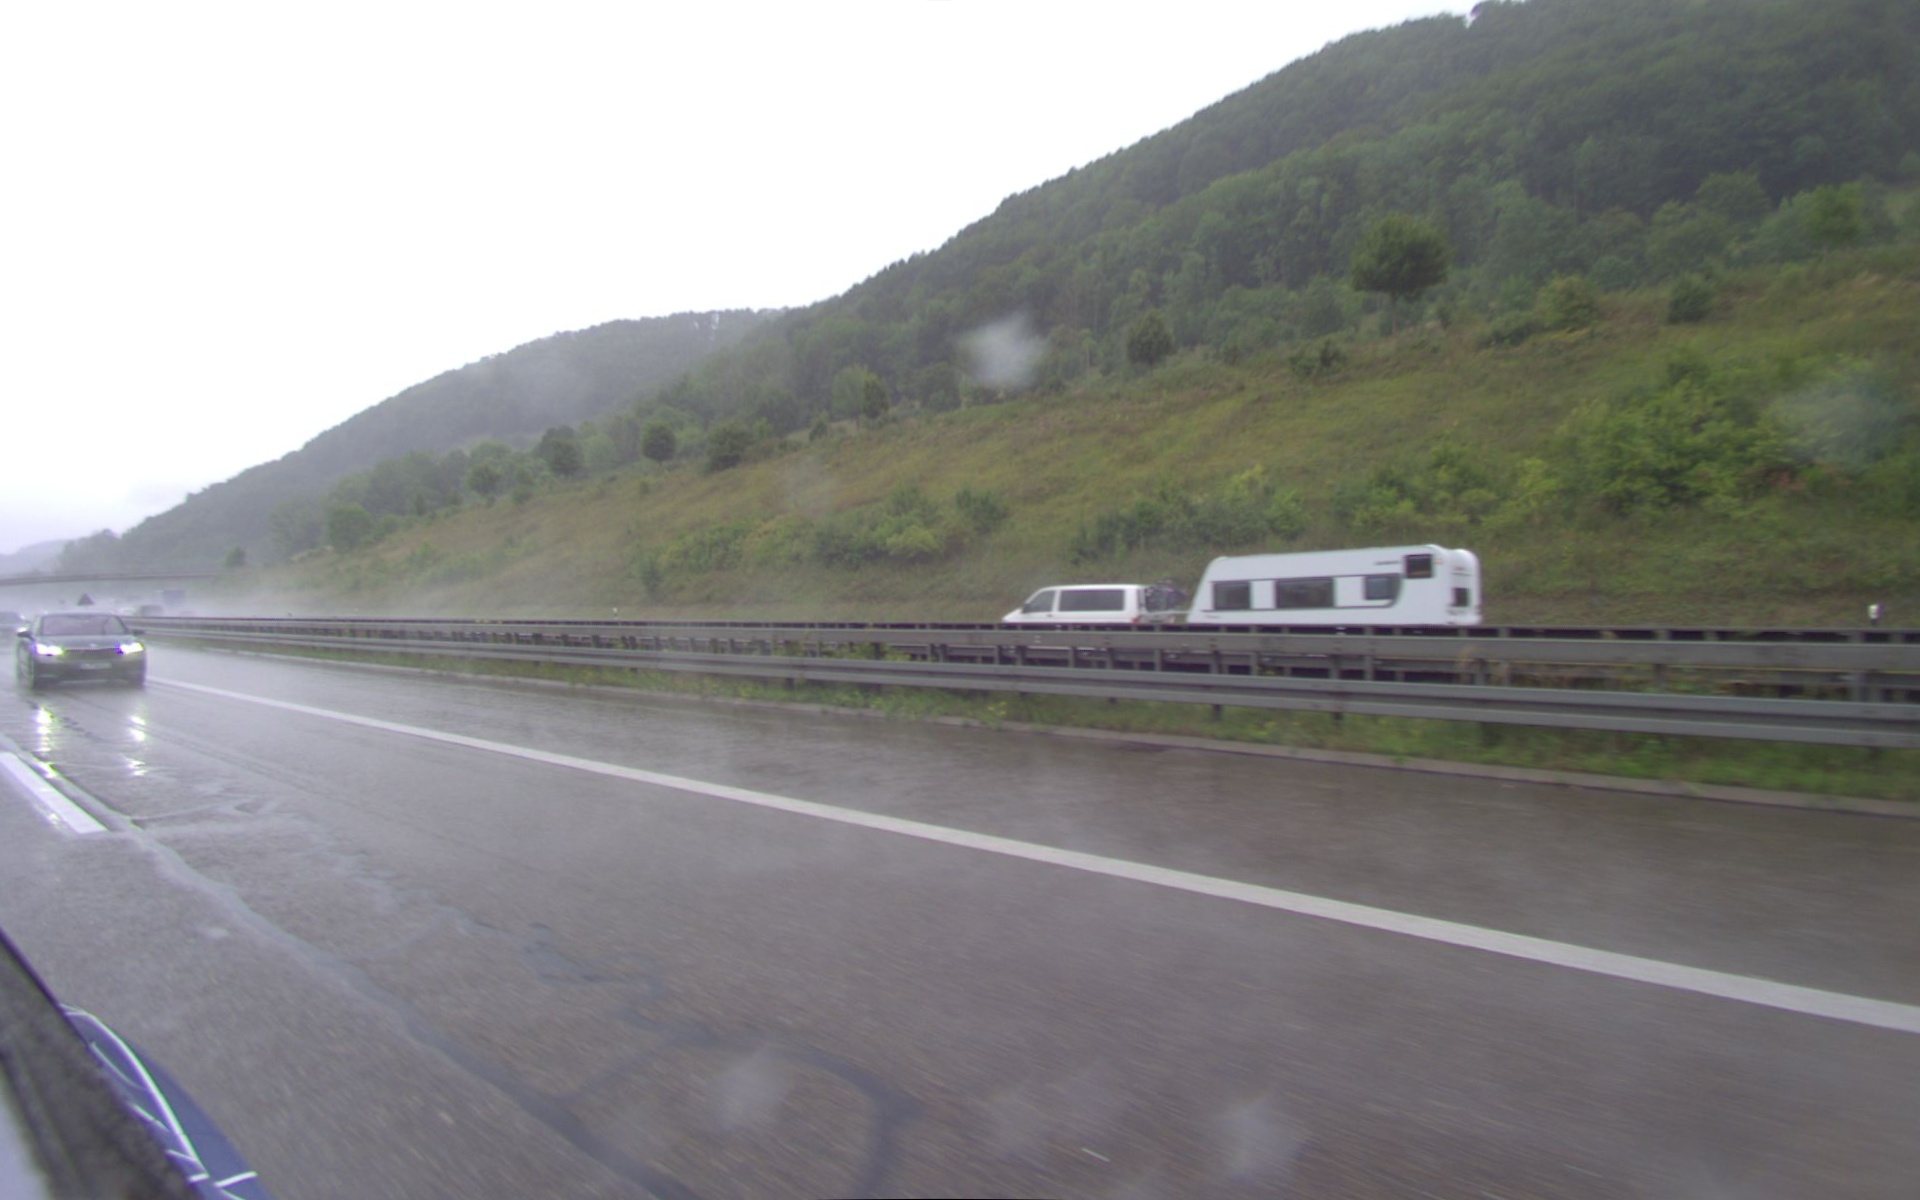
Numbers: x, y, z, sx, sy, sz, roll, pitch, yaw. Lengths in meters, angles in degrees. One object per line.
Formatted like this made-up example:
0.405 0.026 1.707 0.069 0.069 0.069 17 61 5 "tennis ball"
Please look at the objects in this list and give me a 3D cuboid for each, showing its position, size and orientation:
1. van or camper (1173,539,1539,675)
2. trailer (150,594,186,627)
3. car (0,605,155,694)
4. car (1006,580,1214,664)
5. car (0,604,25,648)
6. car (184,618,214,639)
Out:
8.507 0.187 22.441 7.202 2.583 2.320 -1 -1 41 "van or camper"
-118.595 1.581 151.464 2.705 4.822 14.052 -1 0 -44 "trailer"
-19.016 0.974 21.671 4.907 1.696 1.972 -1 -1 42 "car"
3.849 0.566 26.660 5.176 2.031 1.973 -1 -1 41 "car"
-39.562 1.065 41.307 3.749 1.715 1.790 -1 0 43 "car"
-74.961 2.800 99.622 4.001 2.029 1.770 -1 -1 44 "car"
